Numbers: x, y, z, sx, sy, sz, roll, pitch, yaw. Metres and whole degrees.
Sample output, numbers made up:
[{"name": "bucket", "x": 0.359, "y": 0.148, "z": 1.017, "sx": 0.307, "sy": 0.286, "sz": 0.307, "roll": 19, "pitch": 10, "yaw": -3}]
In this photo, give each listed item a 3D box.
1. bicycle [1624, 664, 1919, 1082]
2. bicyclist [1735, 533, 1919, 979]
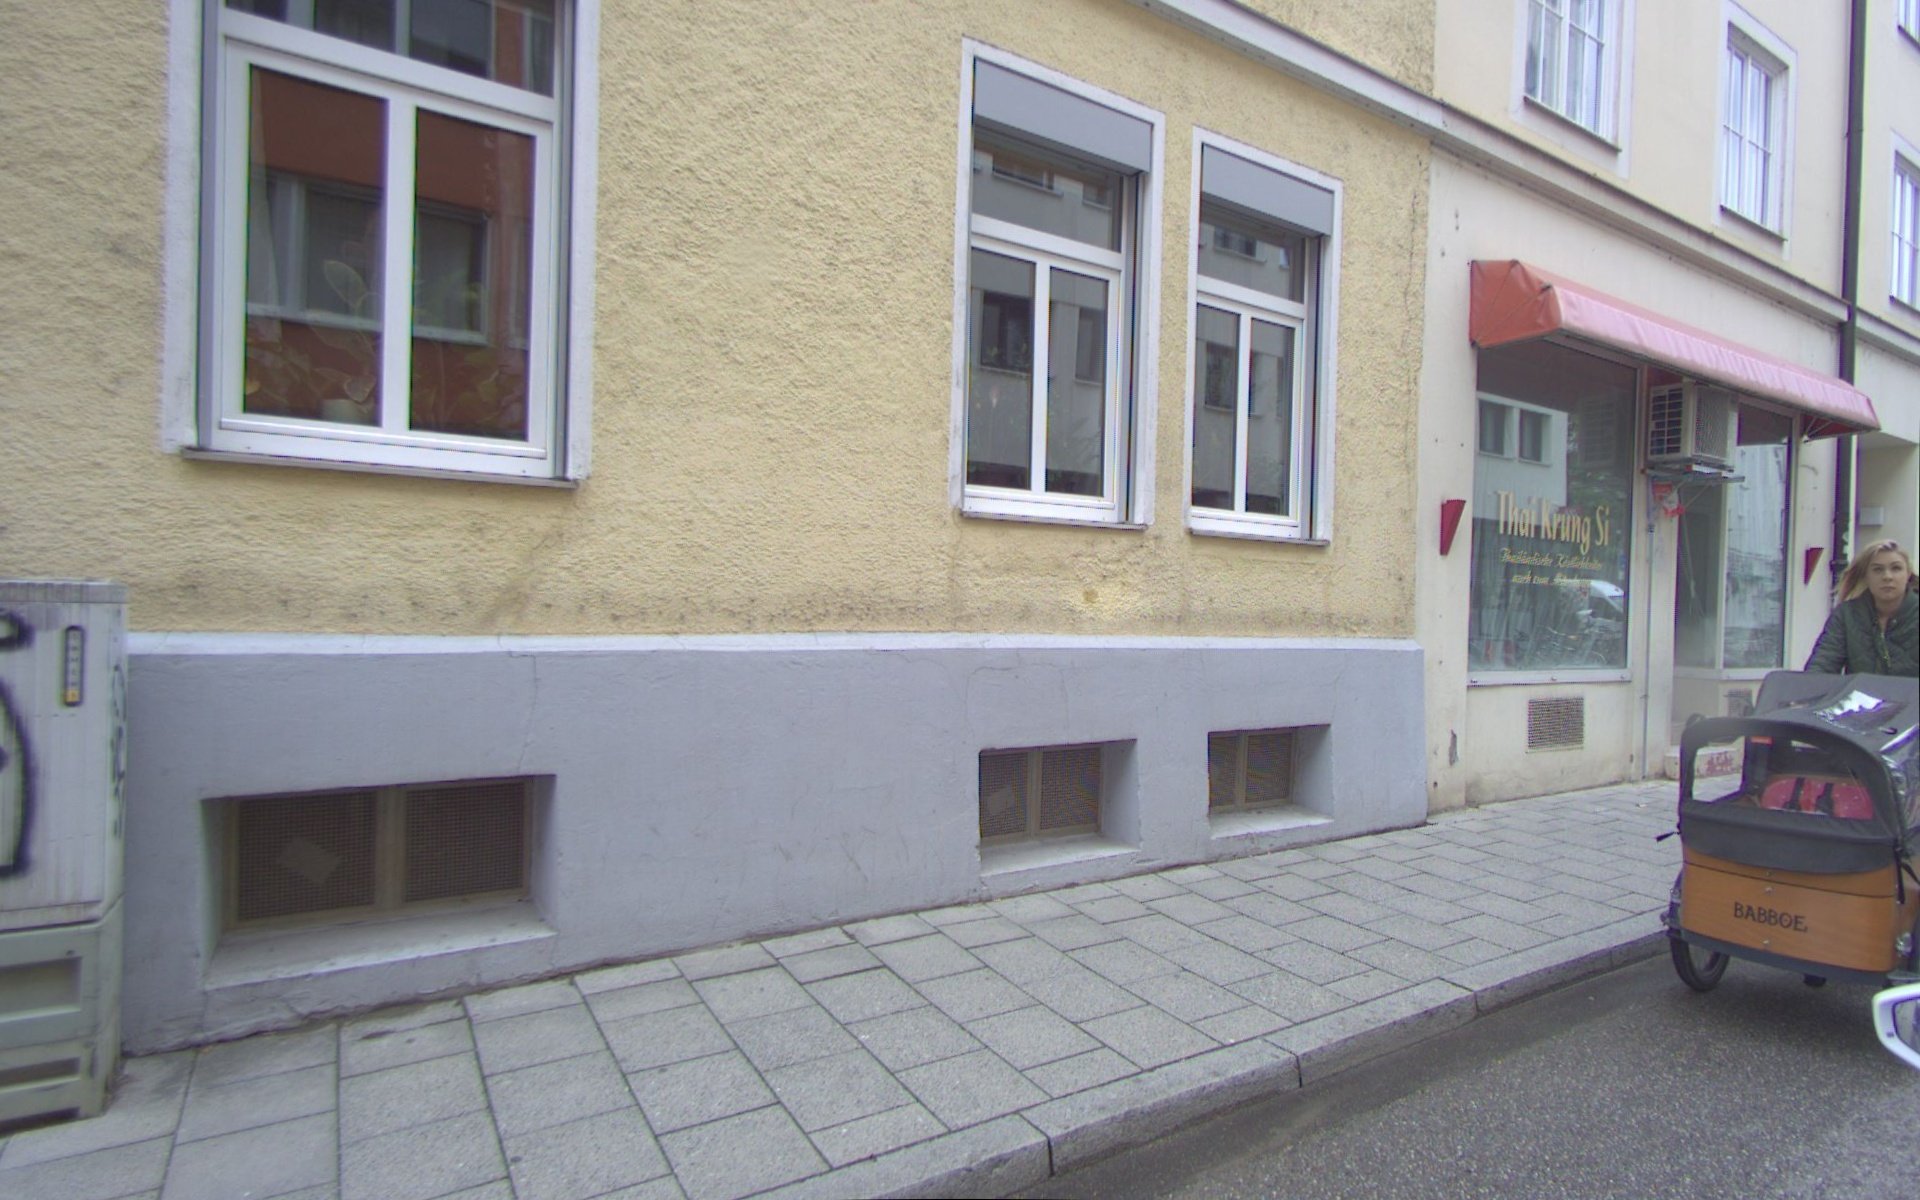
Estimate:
[{"name": "bicycle", "x": 3.862, "y": 0.928, "z": 4.164, "sx": 2.387, "sy": 1.274, "sz": 0.927, "roll": 2, "pitch": -1, "yaw": -32}, {"name": "bicyclist", "x": 4.139, "y": 0.619, "z": 4.344, "sx": 1.087, "sy": 1.744, "sz": 0.922, "roll": 1, "pitch": -1, "yaw": -31}]
